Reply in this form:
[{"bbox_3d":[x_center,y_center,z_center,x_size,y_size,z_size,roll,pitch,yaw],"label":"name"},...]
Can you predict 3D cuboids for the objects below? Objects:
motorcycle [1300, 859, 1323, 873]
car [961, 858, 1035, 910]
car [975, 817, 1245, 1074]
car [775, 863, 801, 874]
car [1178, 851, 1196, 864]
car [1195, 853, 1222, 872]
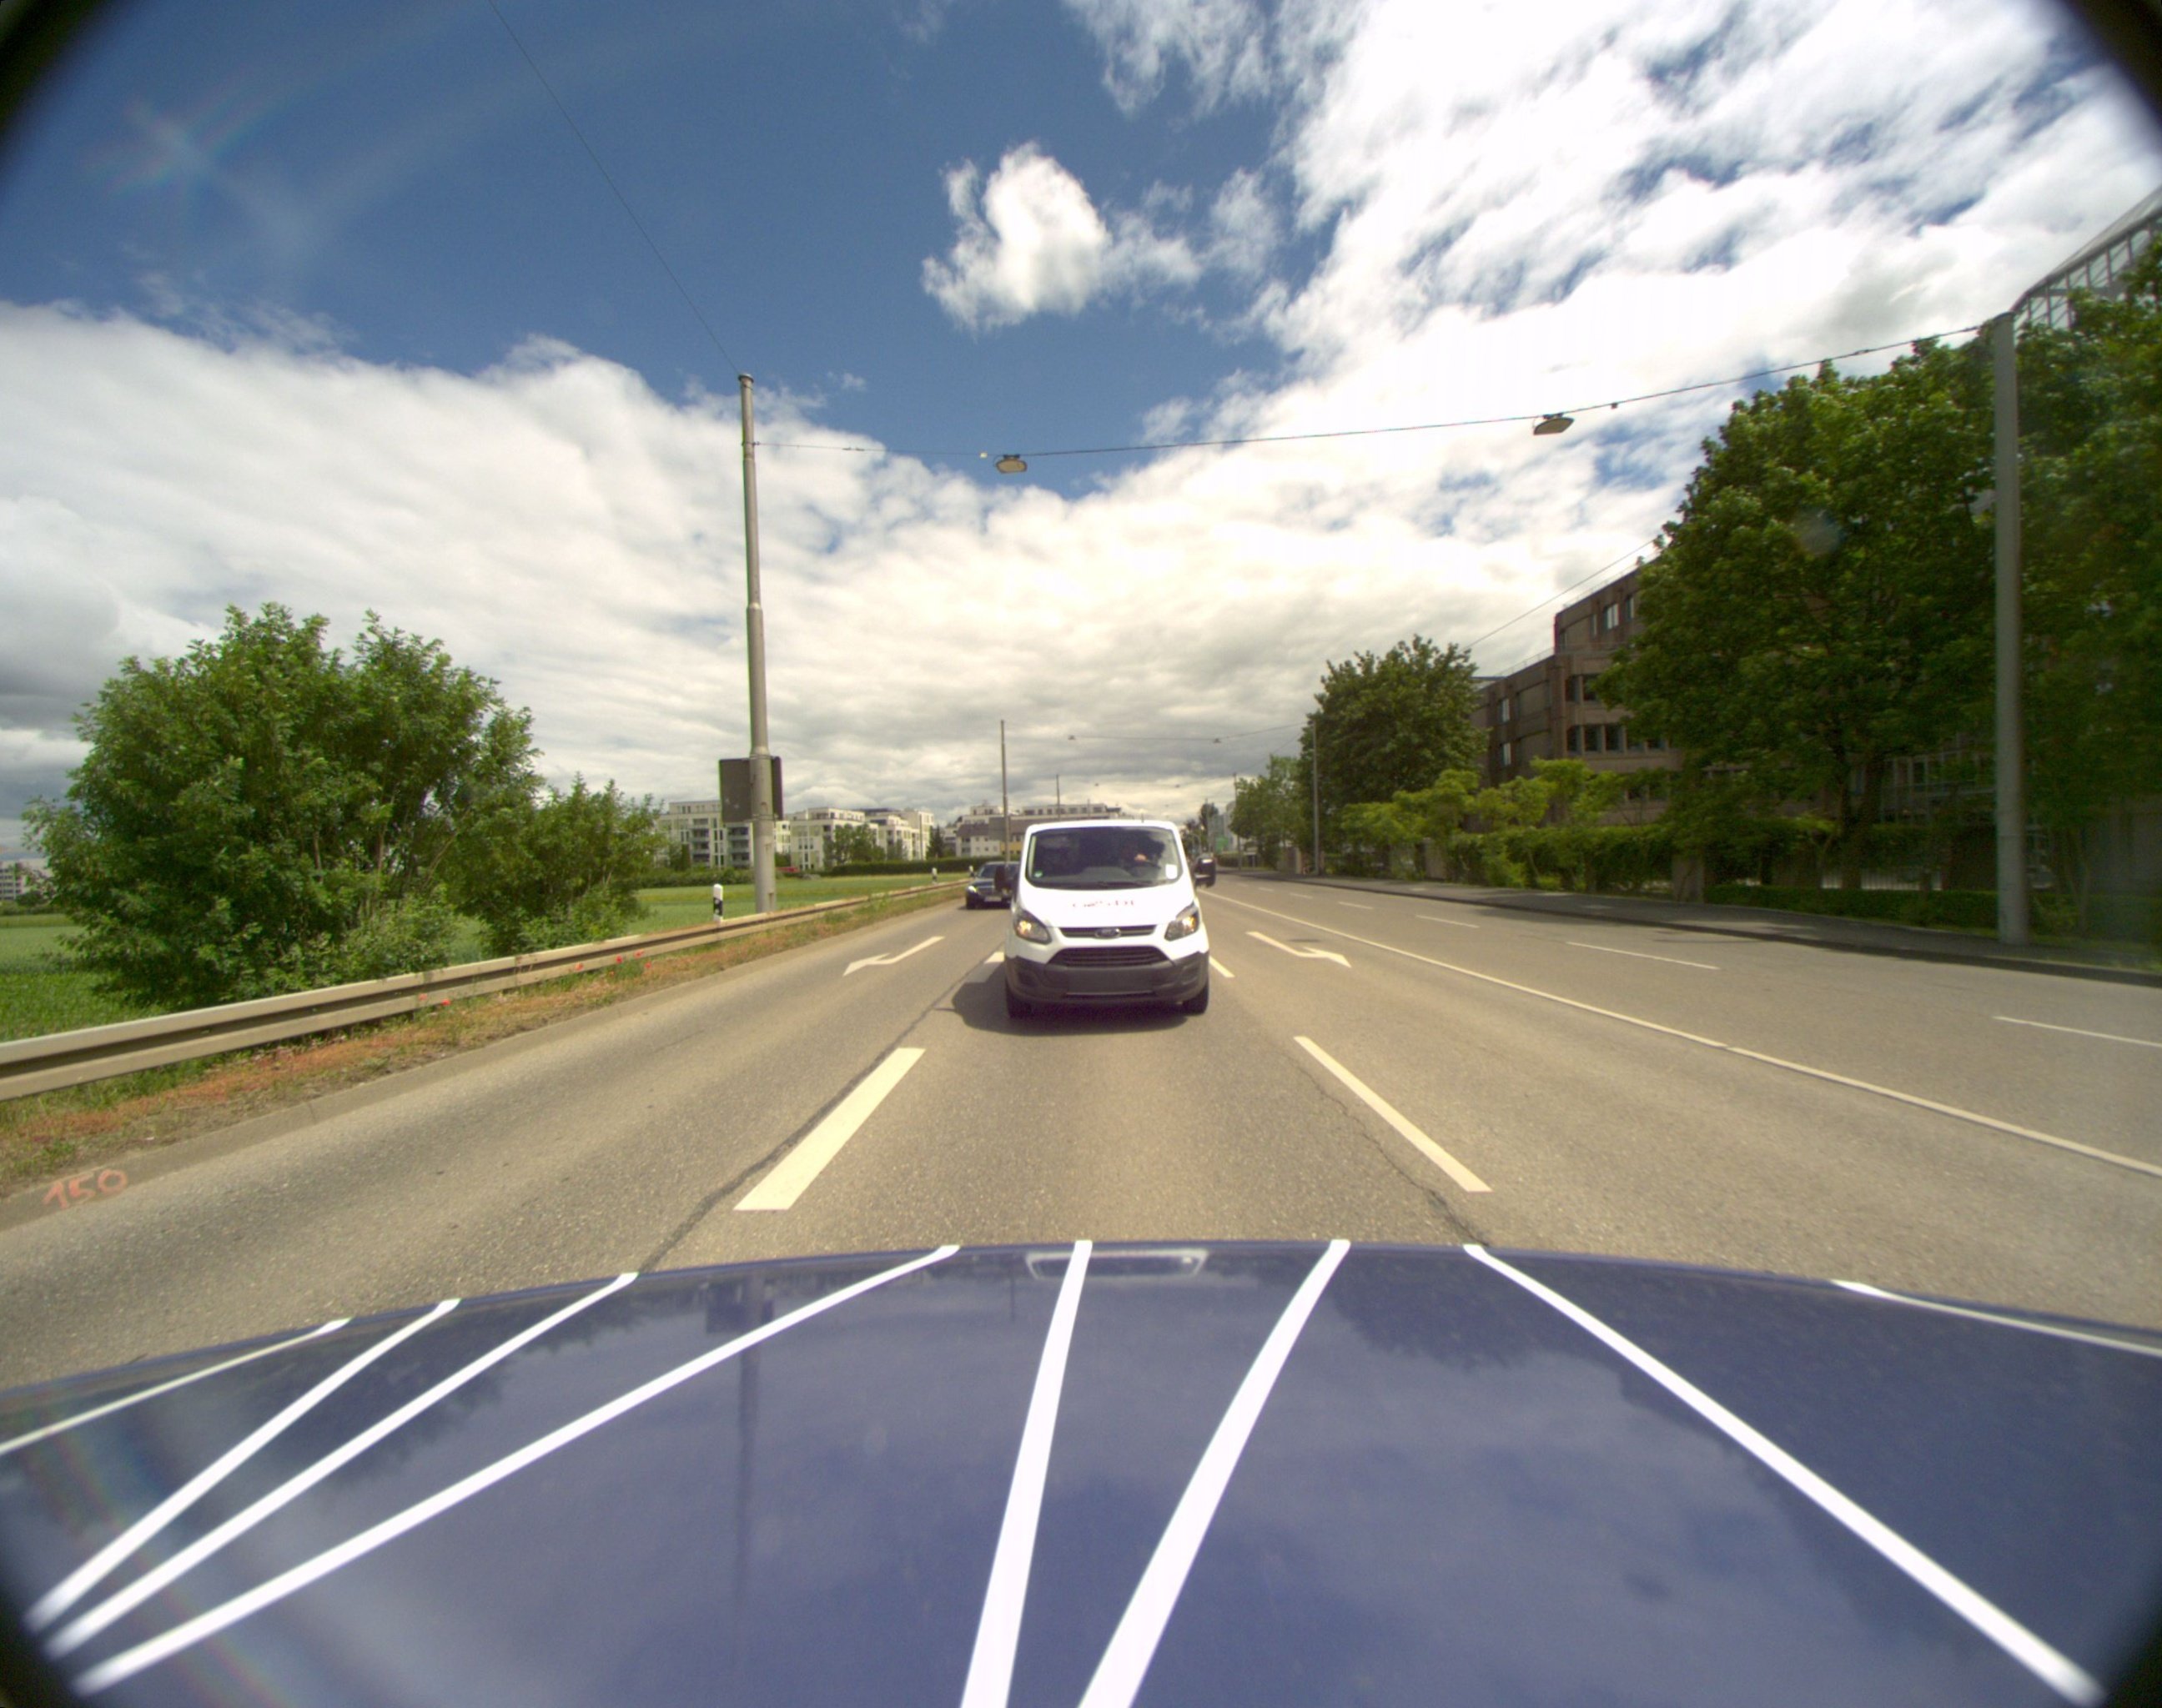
[{"bbox_3d":[21.986,1.144,72.560,1.905,1.237,0.746,-2,1,1],"label":"motorcycle"},{"bbox_3d":[-2.657,0.981,25.332,1.842,1.528,4.807,-2,-2,1],"label":"car"},{"bbox_3d":[0.304,0.691,8.708,1.998,1.907,5.882,-2,0,2],"label":"car"},{"bbox_3d":[-59.110,2.882,153.316,4.436,2.002,2.000,-2,1,2],"label":"car"},{"bbox_3d":[13.398,0.417,96.222,1.801,1.576,4.313,-2,1,1],"label":"car"},{"bbox_3d":[11.945,0.795,71.316,1.872,1.605,4.572,-2,1,3],"label":"car"}]
